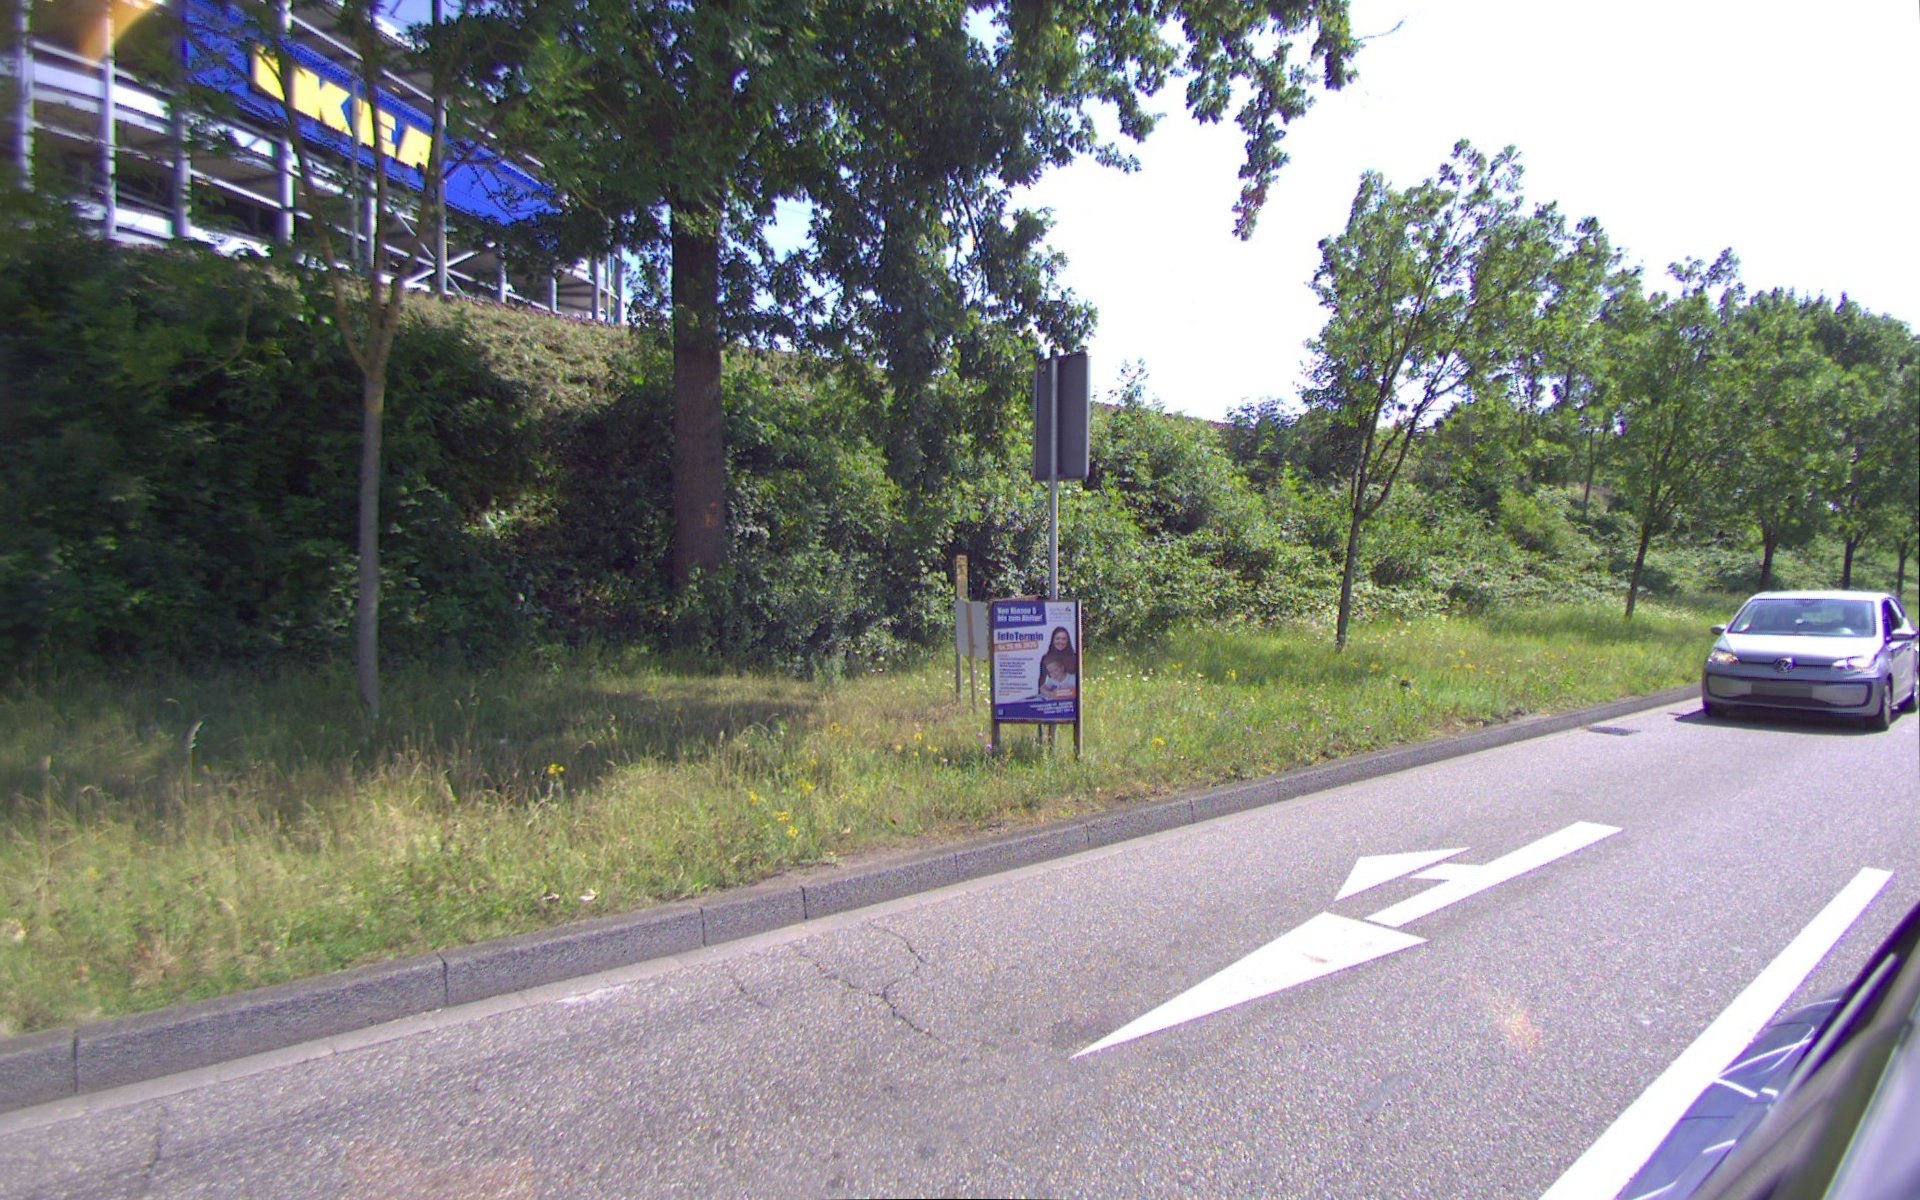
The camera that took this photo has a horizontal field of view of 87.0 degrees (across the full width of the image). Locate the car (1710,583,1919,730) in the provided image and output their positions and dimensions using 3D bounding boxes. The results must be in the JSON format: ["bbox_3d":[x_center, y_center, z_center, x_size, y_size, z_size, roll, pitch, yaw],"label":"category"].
[{"bbox_3d":[10.256,0.535,11.942,3.618,1.455,1.702,-1,1,-44],"label":"car"}]
